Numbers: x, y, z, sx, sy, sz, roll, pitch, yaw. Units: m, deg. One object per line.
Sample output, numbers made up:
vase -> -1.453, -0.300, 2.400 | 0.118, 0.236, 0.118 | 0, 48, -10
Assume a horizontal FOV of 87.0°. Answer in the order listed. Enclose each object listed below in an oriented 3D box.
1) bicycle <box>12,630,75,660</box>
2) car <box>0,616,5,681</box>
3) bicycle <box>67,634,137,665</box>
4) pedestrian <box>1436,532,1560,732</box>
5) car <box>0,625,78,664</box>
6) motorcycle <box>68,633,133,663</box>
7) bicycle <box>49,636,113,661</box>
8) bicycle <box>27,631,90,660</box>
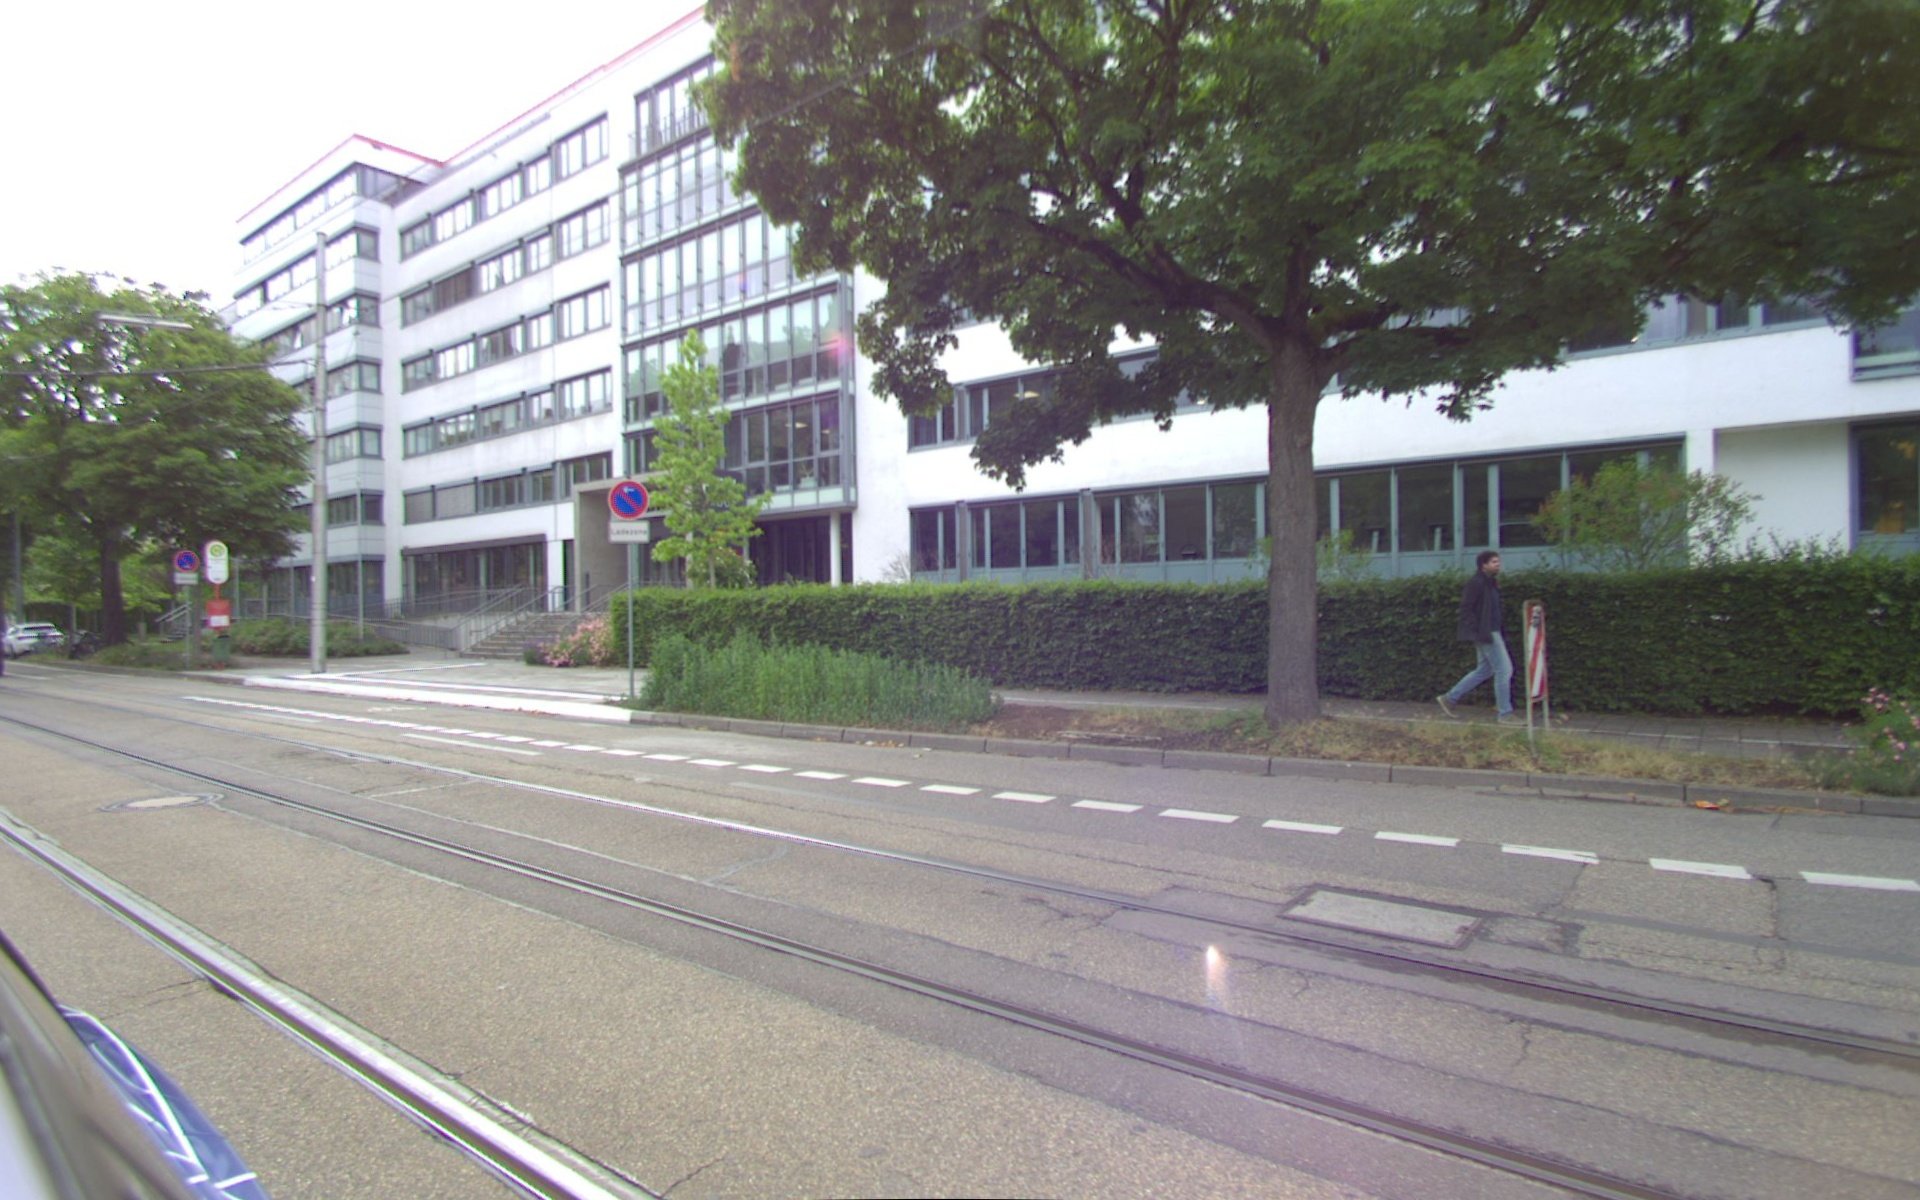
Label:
bicycle -> -37.388, 1.828, 41.292 | 0.632, 1.195, 1.844 | -1, -2, 42
car -> -28.079, 1.336, 28.045 | 4.330, 1.751, 1.809 | -1, -1, 39
bicycle -> -31.373, 1.793, 37.013 | 0.739, 1.061, 1.816 | -2, -1, 29
pedestrian -> 5.772, 0.322, 10.860 | 0.702, 2.029, 0.991 | -2, 1, -45
car -> -39.559, 1.871, 43.310 | 4.747, 1.504, 1.863 | -2, 1, 38
motorcycle -> -32.771, 1.822, 38.609 | 0.730, 1.058, 1.775 | -1, 0, 31
bicycle -> -34.298, 1.895, 39.512 | 0.630, 0.906, 1.792 | 0, -1, 32
bicycle -> -36.323, 1.826, 40.803 | 0.630, 1.108, 1.792 | 0, -1, 32
